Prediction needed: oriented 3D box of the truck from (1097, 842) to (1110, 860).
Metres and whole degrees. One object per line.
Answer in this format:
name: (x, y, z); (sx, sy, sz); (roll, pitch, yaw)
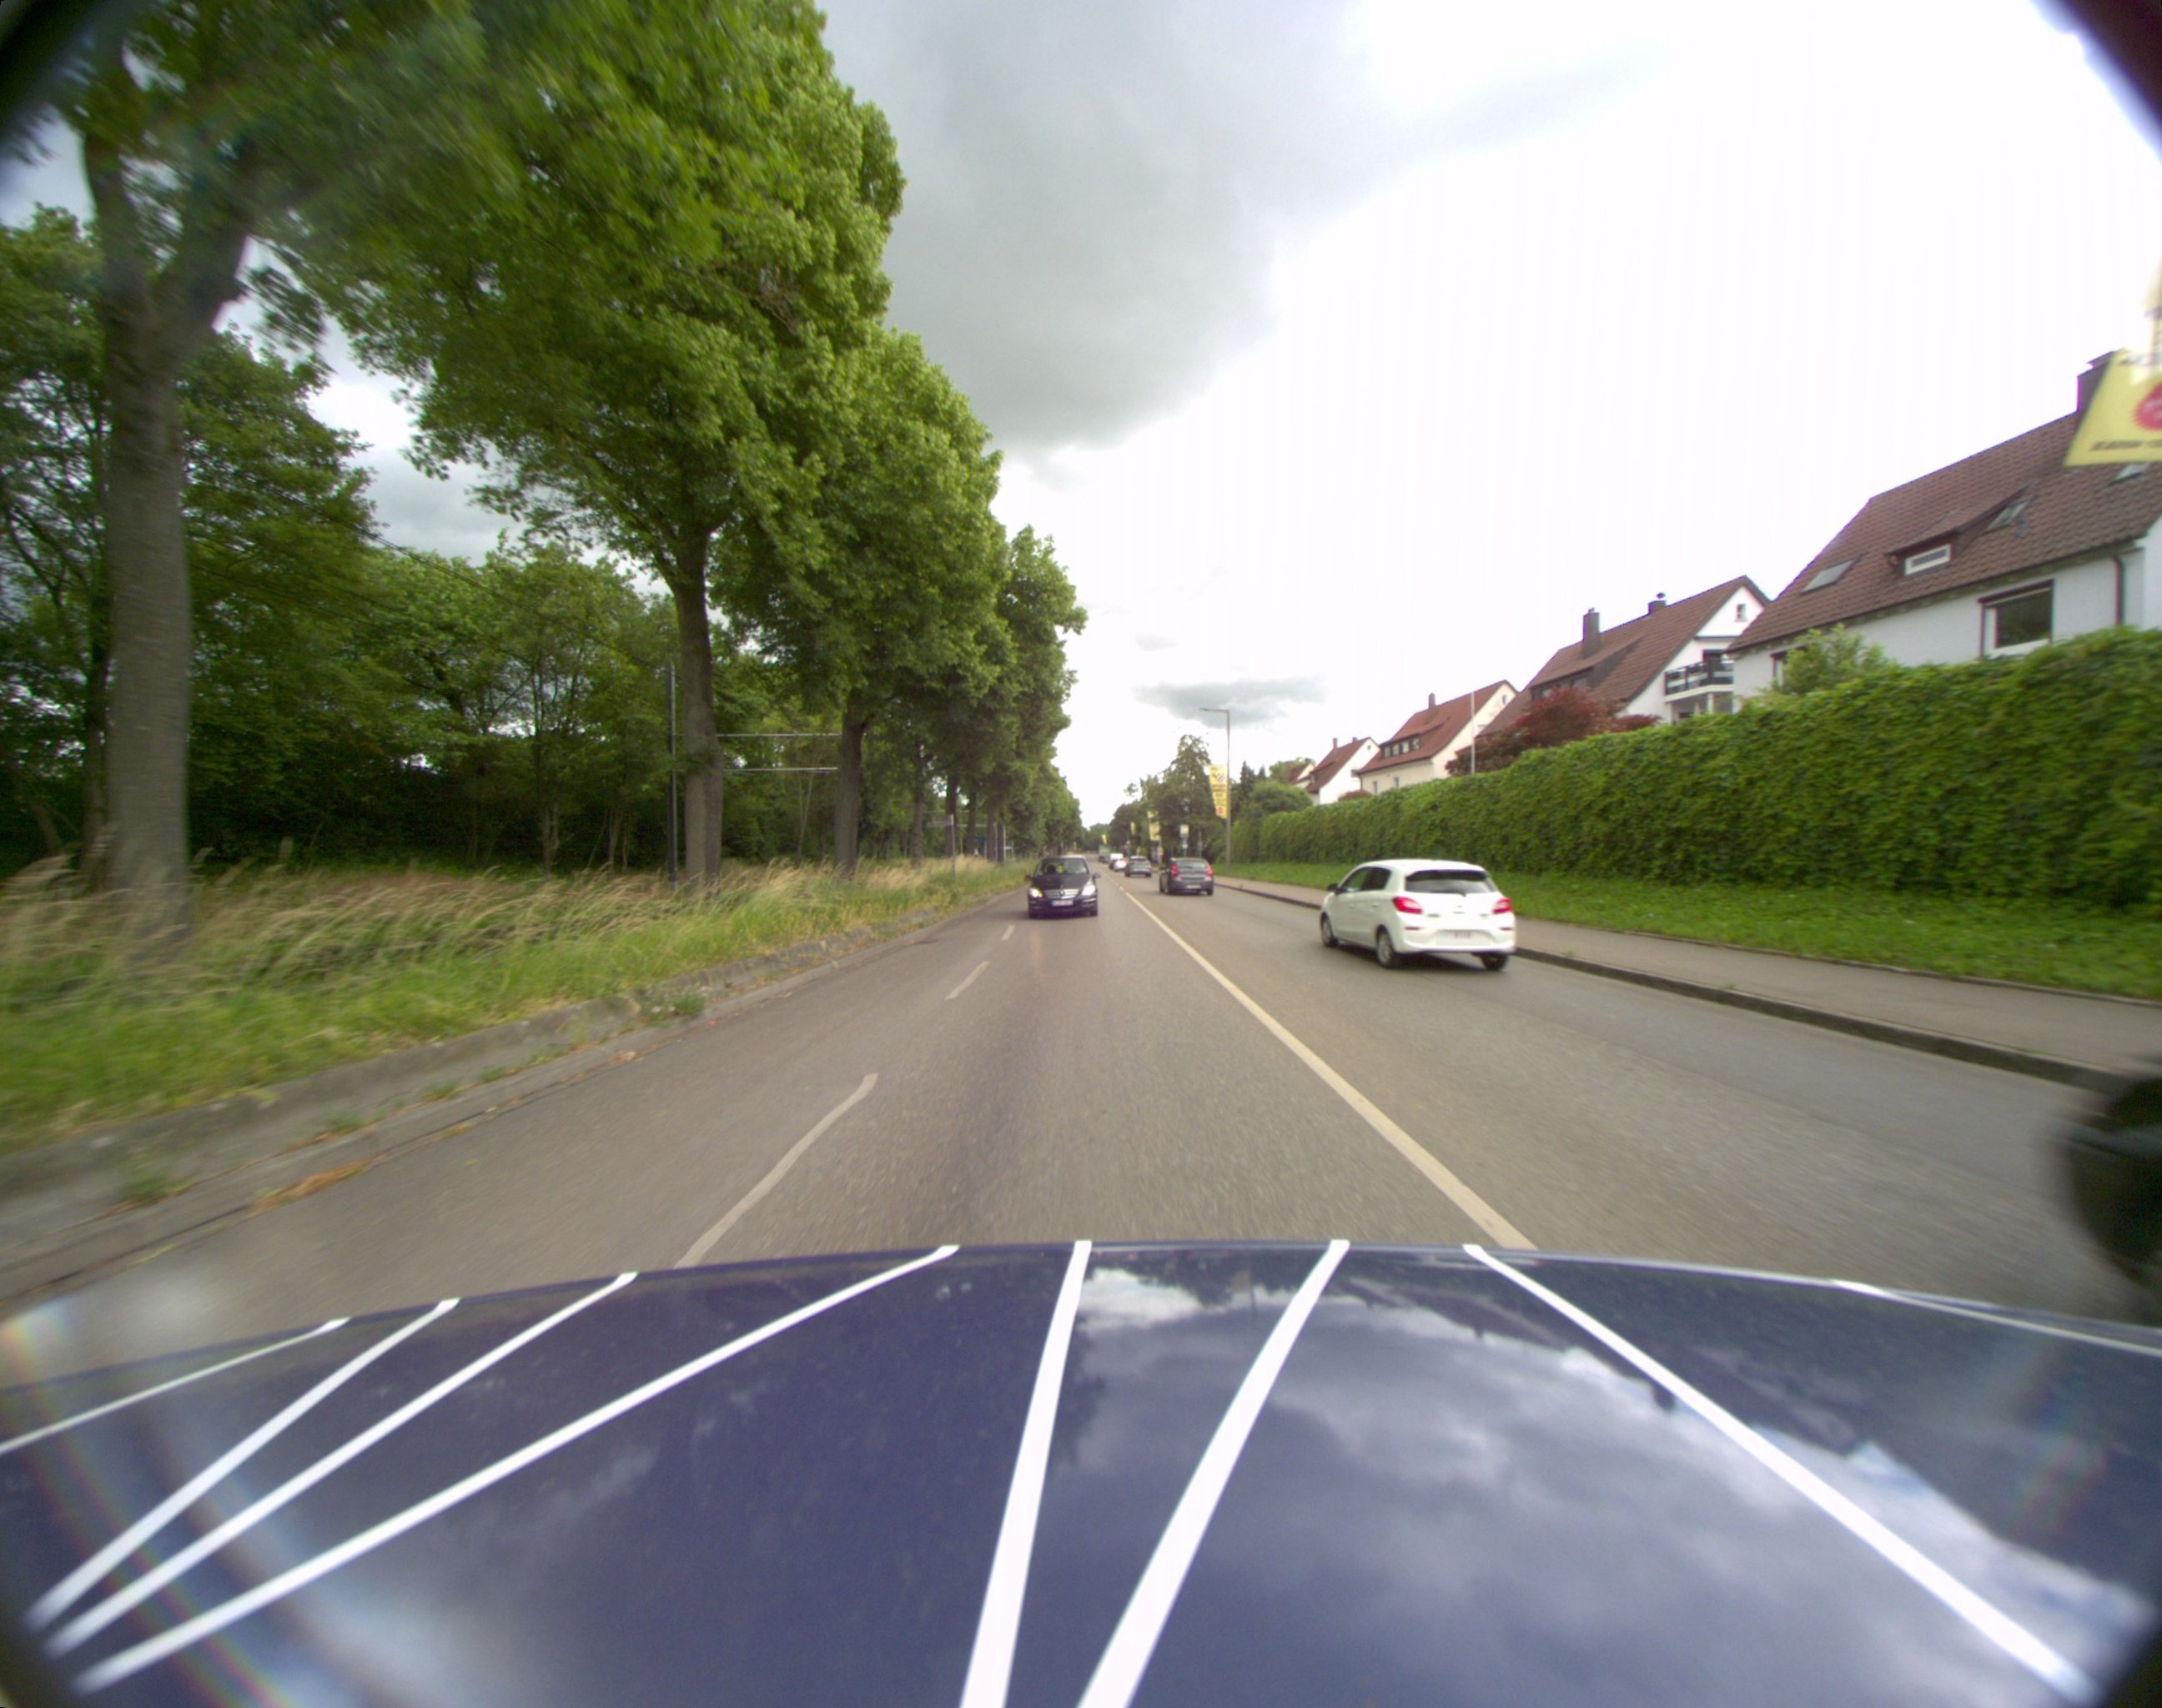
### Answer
truck: (5.351, -0.684, 181.313); (2.556, 4.020, 10.618); (1, 1, 0)

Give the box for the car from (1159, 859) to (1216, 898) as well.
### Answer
car: (4.262, 0.927, 30.936); (1.732, 1.455, 4.153); (0, 0, 0)

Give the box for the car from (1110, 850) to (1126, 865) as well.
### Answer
car: (5.119, 0.454, 104.956); (1.911, 1.921, 4.910); (1, 0, 0)

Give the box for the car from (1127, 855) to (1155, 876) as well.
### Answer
car: (4.437, 0.882, 56.664); (1.756, 1.509, 4.000); (0, -1, -1)

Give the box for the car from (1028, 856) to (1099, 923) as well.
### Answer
car: (-0.426, 0.878, 20.864); (1.683, 1.565, 4.482); (-2, 0, 0)

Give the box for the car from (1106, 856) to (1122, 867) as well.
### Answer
car: (3.907, 0.880, 90.251); (1.655, 1.340, 4.477); (0, 0, 1)

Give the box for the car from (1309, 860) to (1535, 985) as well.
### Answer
car: (4.853, 0.863, 11.502); (1.622, 1.453, 4.072); (2, 0, 1)

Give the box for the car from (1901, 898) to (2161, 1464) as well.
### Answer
car: (3.730, 0.903, 0.616); (1.647, 1.472, 4.106); (1, 0, -1)

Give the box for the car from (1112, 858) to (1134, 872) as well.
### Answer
car: (4.289, 1.134, 77.660); (1.891, 1.375, 4.490); (0, 0, -1)

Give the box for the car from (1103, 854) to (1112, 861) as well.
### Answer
car: (5.426, 0.772, 154.741); (1.737, 1.367, 4.239); (-1, 0, 0)
